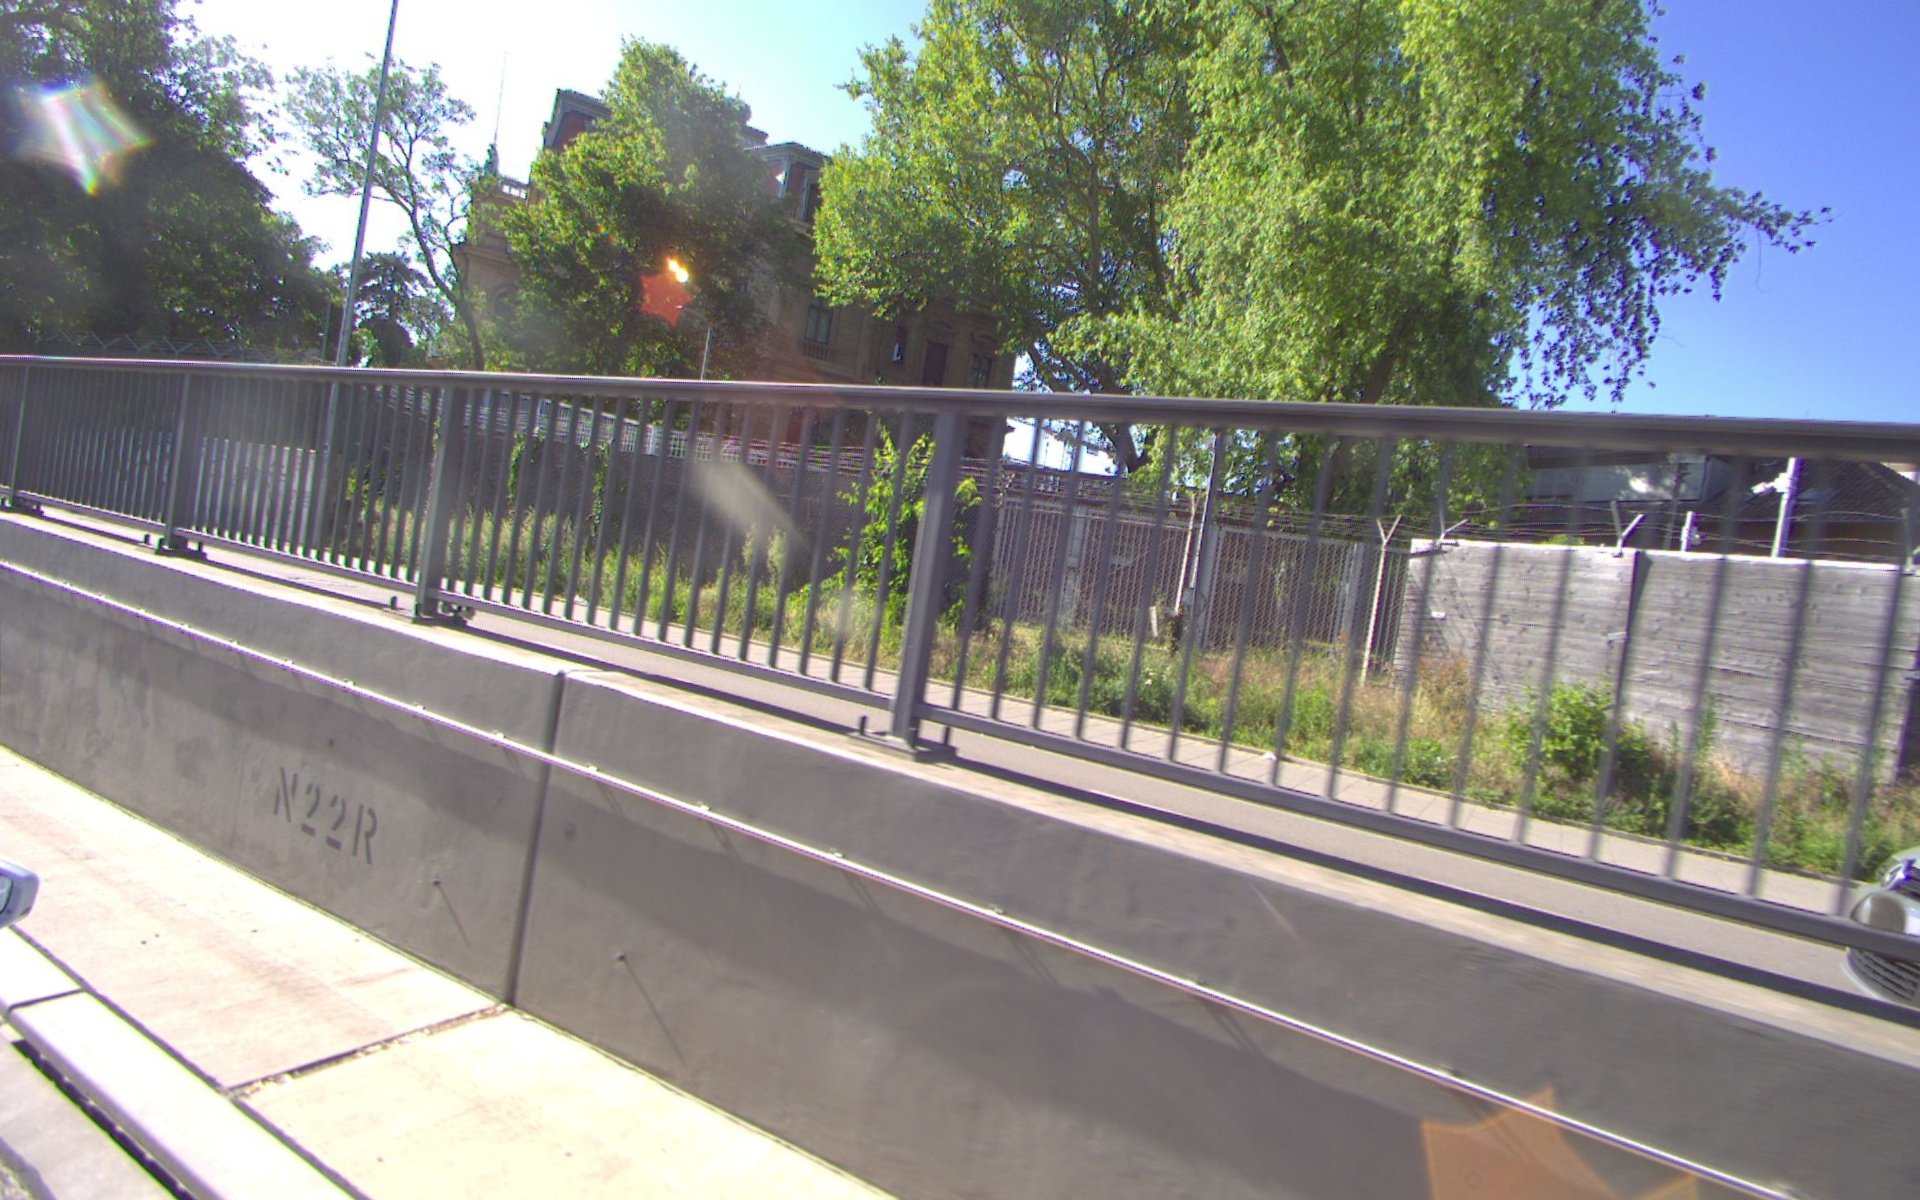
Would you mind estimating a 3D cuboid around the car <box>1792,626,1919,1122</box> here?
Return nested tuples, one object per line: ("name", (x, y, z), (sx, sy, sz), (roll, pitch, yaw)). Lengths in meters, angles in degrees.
("car", (4.852, 1.070, 2.513), (3.906, 1.452, 1.670), (9, 0, 32))
